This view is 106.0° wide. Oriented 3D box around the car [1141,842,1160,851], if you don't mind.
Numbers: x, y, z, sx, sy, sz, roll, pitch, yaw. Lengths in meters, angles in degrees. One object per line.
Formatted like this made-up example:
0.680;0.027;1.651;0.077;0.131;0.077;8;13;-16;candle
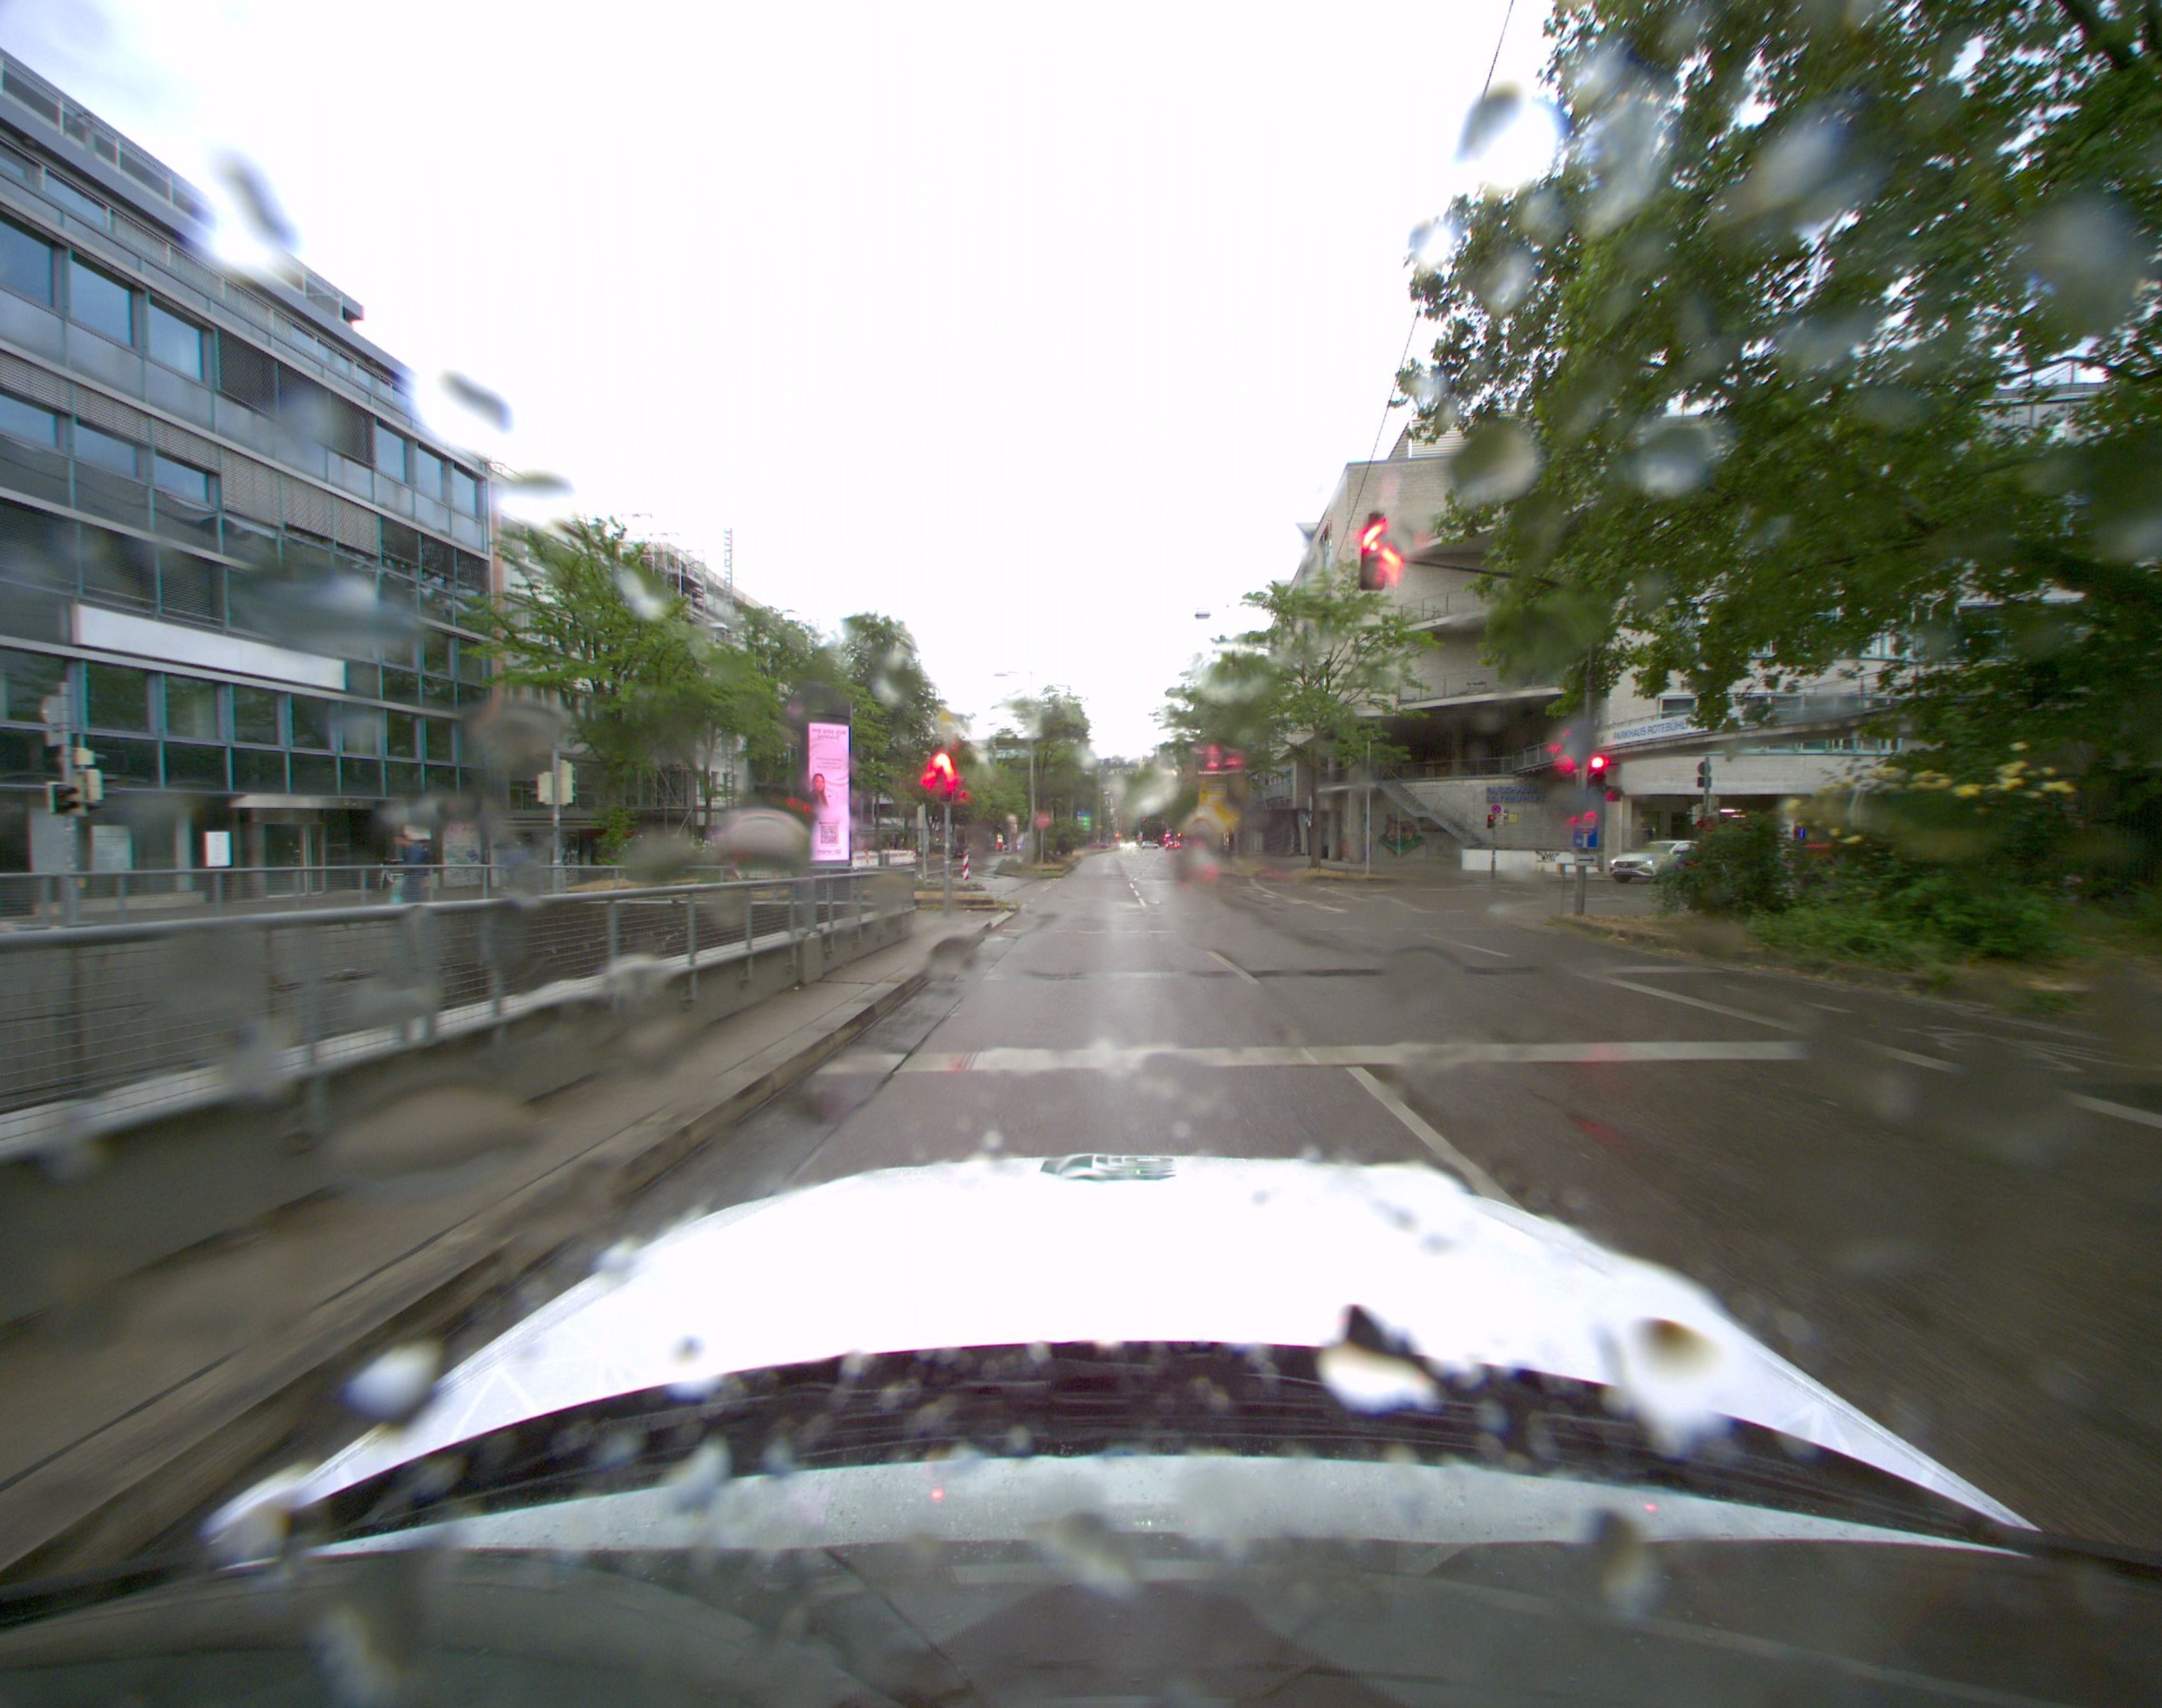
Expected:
15.749;-1.767;183.751;4.048;1.904;1.951;1;0;-5;car

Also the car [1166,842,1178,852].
14.918;-1.170;133.578;1.739;1.519;4.108;1;0;2;car

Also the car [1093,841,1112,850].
4.791;-1.957;181.954;4.010;1.919;1.879;1;0;-10;car

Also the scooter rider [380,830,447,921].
-14.790;0.458;18.057;0.801;1.948;0.826;1;0;21;scooter rider

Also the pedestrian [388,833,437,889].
-22.819;0.242;27.803;0.857;1.868;0.964;1;0;20;pedestrian

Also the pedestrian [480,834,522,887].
-21.013;0.237;29.528;0.874;1.868;0.866;1;0;-1;pedestrian

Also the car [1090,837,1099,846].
3.668;-3.466;226.929;2.118;2.164;5.204;1;0;5;car

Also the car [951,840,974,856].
-12.554;-0.662;86.500;1.774;1.555;3.895;1;2;1;car

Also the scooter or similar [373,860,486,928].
-14.612;0.852;18.347;0.541;1.418;1.965;1;0;21;scooter or similar

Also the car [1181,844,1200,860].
11.525;-0.234;86.158;1.892;1.684;3.917;1;0;6;car

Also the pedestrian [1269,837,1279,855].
16.946;-0.734;71.668;0.782;1.557;0.534;1;0;6;pedestrian

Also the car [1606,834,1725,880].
22.454;0.113;31.285;4.362;1.684;1.738;0;0;-23;car
